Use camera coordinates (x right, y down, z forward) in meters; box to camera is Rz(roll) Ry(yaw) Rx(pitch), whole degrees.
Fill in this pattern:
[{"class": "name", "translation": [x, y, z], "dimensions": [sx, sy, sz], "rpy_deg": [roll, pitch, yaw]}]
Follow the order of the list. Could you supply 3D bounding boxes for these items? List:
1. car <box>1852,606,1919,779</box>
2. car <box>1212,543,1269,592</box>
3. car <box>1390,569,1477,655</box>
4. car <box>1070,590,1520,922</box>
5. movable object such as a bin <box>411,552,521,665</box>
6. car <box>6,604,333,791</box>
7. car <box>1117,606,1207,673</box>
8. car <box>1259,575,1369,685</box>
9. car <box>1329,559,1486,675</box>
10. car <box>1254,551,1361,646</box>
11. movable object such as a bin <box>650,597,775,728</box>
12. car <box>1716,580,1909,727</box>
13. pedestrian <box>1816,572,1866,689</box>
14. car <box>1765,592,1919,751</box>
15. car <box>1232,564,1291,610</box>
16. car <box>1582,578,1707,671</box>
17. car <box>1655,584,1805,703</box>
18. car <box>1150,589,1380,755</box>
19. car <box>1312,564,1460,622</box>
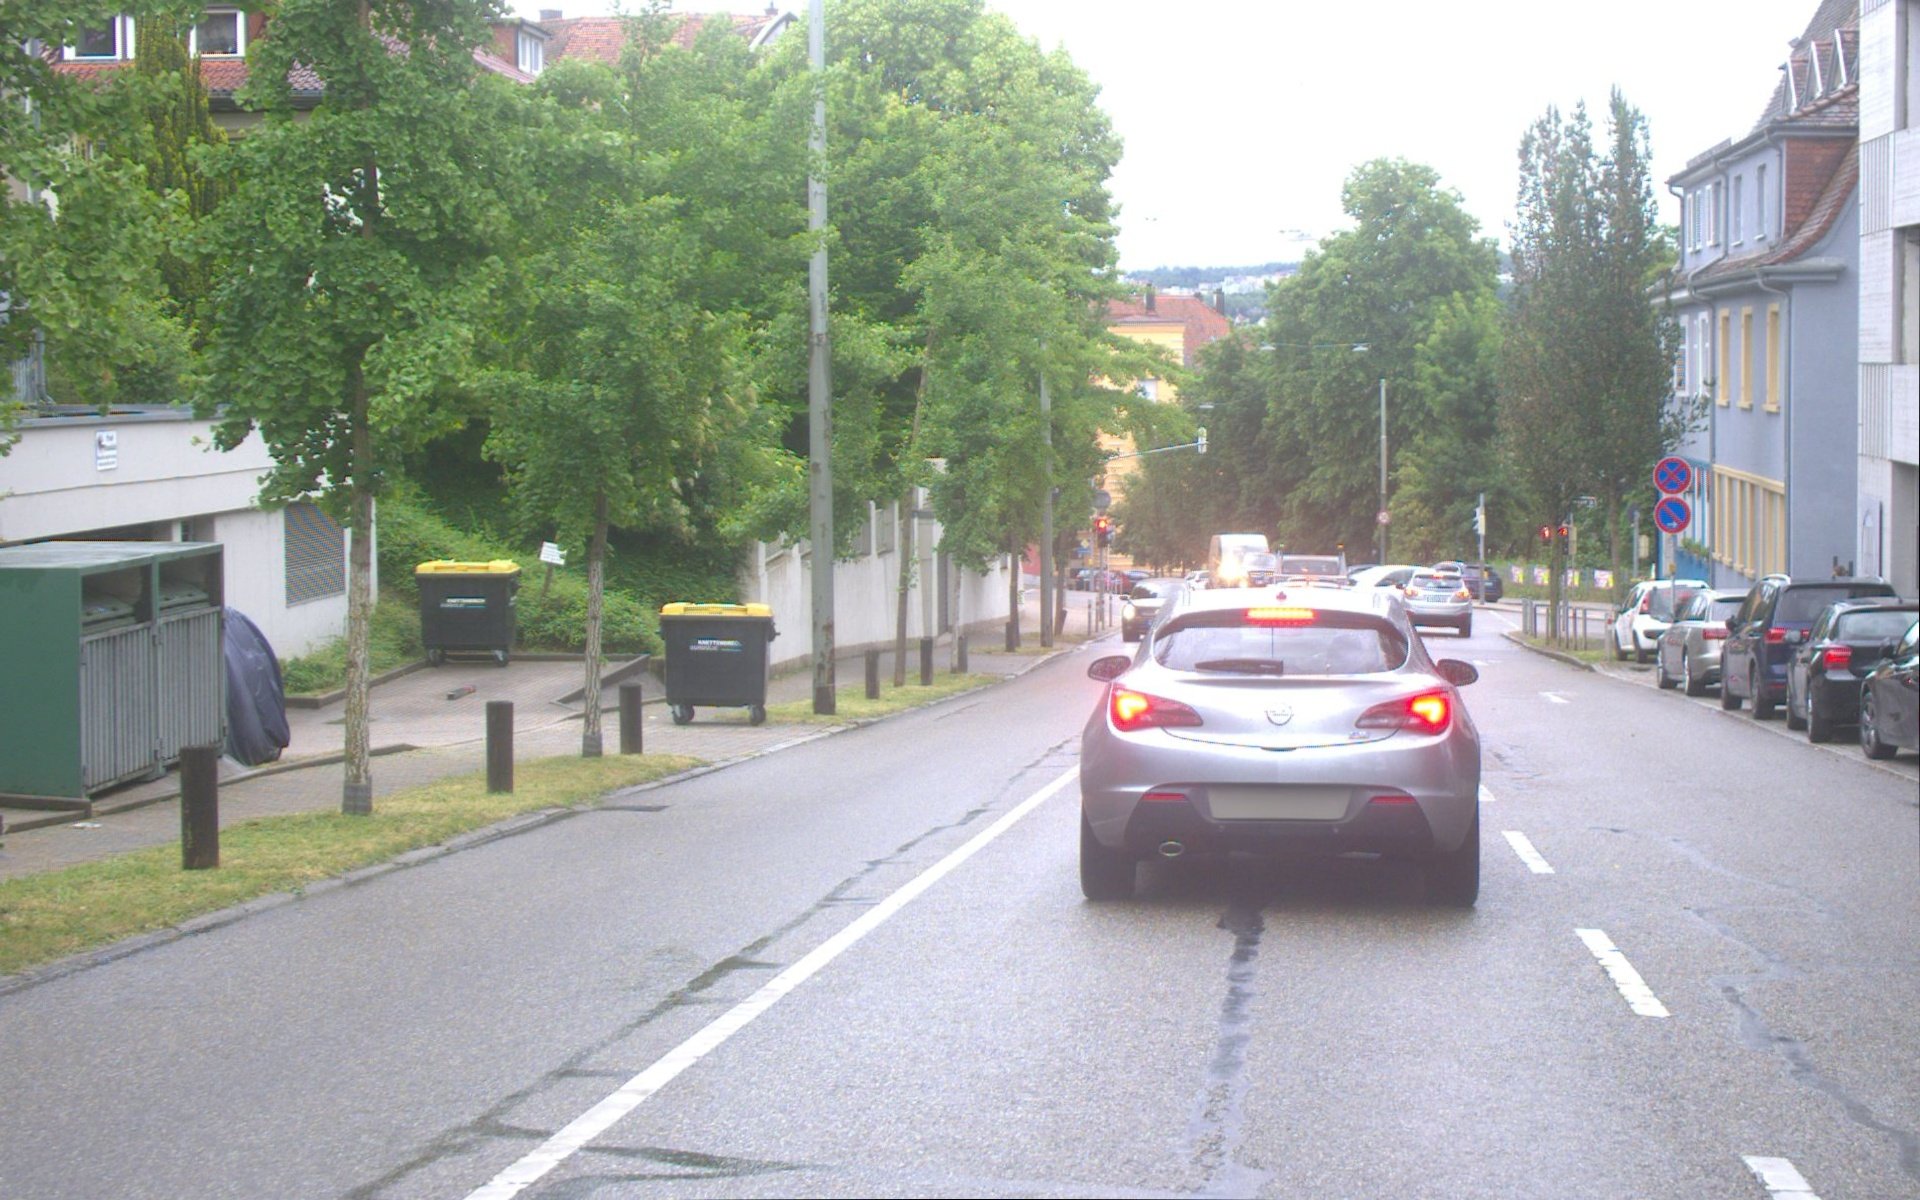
[{"class": "car", "translation": [8.799, 0.768, 29.573], "dimensions": [1.504, 1.430, 3.999], "rpy_deg": [-1, 0, 5]}, {"class": "car", "translation": [11.008, -1.279, 134.812], "dimensions": [1.994, 1.778, 3.999], "rpy_deg": [3, 1, 7]}, {"class": "car", "translation": [12.291, 0.285, 89.495], "dimensions": [1.994, 2.029, 4.734], "rpy_deg": [3, 1, 6]}, {"class": "car", "translation": [1.527, 0.677, 17.000], "dimensions": [1.945, 1.427, 3.884], "rpy_deg": [1, 0, 2]}, {"class": "movable object such as a bin", "translation": [-6.266, 0.101, 43.630], "dimensions": [1.272, 1.382, 0.489], "rpy_deg": [2, 1, 4]}, {"class": "car", "translation": [-6.962, 0.817, 30.666], "dimensions": [1.741, 1.452, 3.884], "rpy_deg": [-3, 0, 4]}, {"class": "car", "translation": [4.897, 0.940, 82.763], "dimensions": [1.850, 1.464, 4.086], "rpy_deg": [-3, 0, 7]}, {"class": "car", "translation": [6.357, 0.506, 62.048], "dimensions": [1.769, 1.775, 3.976], "rpy_deg": [3, 1, 4]}, {"class": "car", "translation": [6.460, 0.213, 49.941], "dimensions": [1.961, 1.467, 3.950], "rpy_deg": [3, 1, 4]}, {"class": "car", "translation": [8.237, -0.064, 81.221], "dimensions": [2.334, 2.029, 4.734], "rpy_deg": [3, 1, 6]}, {"class": "movable object such as a bin", "translation": [-2.706, 0.676, 37.645], "dimensions": [1.272, 1.382, 0.489], "rpy_deg": [2, 1, 4]}, {"class": "car", "translation": [9.851, 0.580, 39.962], "dimensions": [1.686, 1.565, 3.999], "rpy_deg": [-1, 1, 7]}, {"class": "pedestrian", "translation": [13.493, 0.460, 52.666], "dimensions": [0.645, 1.778, 0.541], "rpy_deg": [1, 1, 7]}, {"class": "car", "translation": [9.309, 0.689, 35.126], "dimensions": [1.682, 1.459, 3.999], "rpy_deg": [-1, 1, 7]}, {"class": "car", "translation": [11.205, -0.509, 127.436], "dimensions": [1.994, 1.530, 4.308], "rpy_deg": [3, 1, 6]}, {"class": "car", "translation": [12.348, 0.425, 62.207], "dimensions": [1.907, 1.565, 3.999], "rpy_deg": [-1, 1, 7]}, {"class": "car", "translation": [10.532, 0.564, 47.254], "dimensions": [1.584, 1.488, 4.289], "rpy_deg": [-1, 1, 7]}, {"class": "car", "translation": [2.767, 0.619, 31.928], "dimensions": [1.798, 1.318, 4.000], "rpy_deg": [1, 1, 1]}, {"class": "car", "translation": [12.515, -0.204, 101.064], "dimensions": [3.850, 1.474, 1.829], "rpy_deg": [-4, 1, -22]}]
